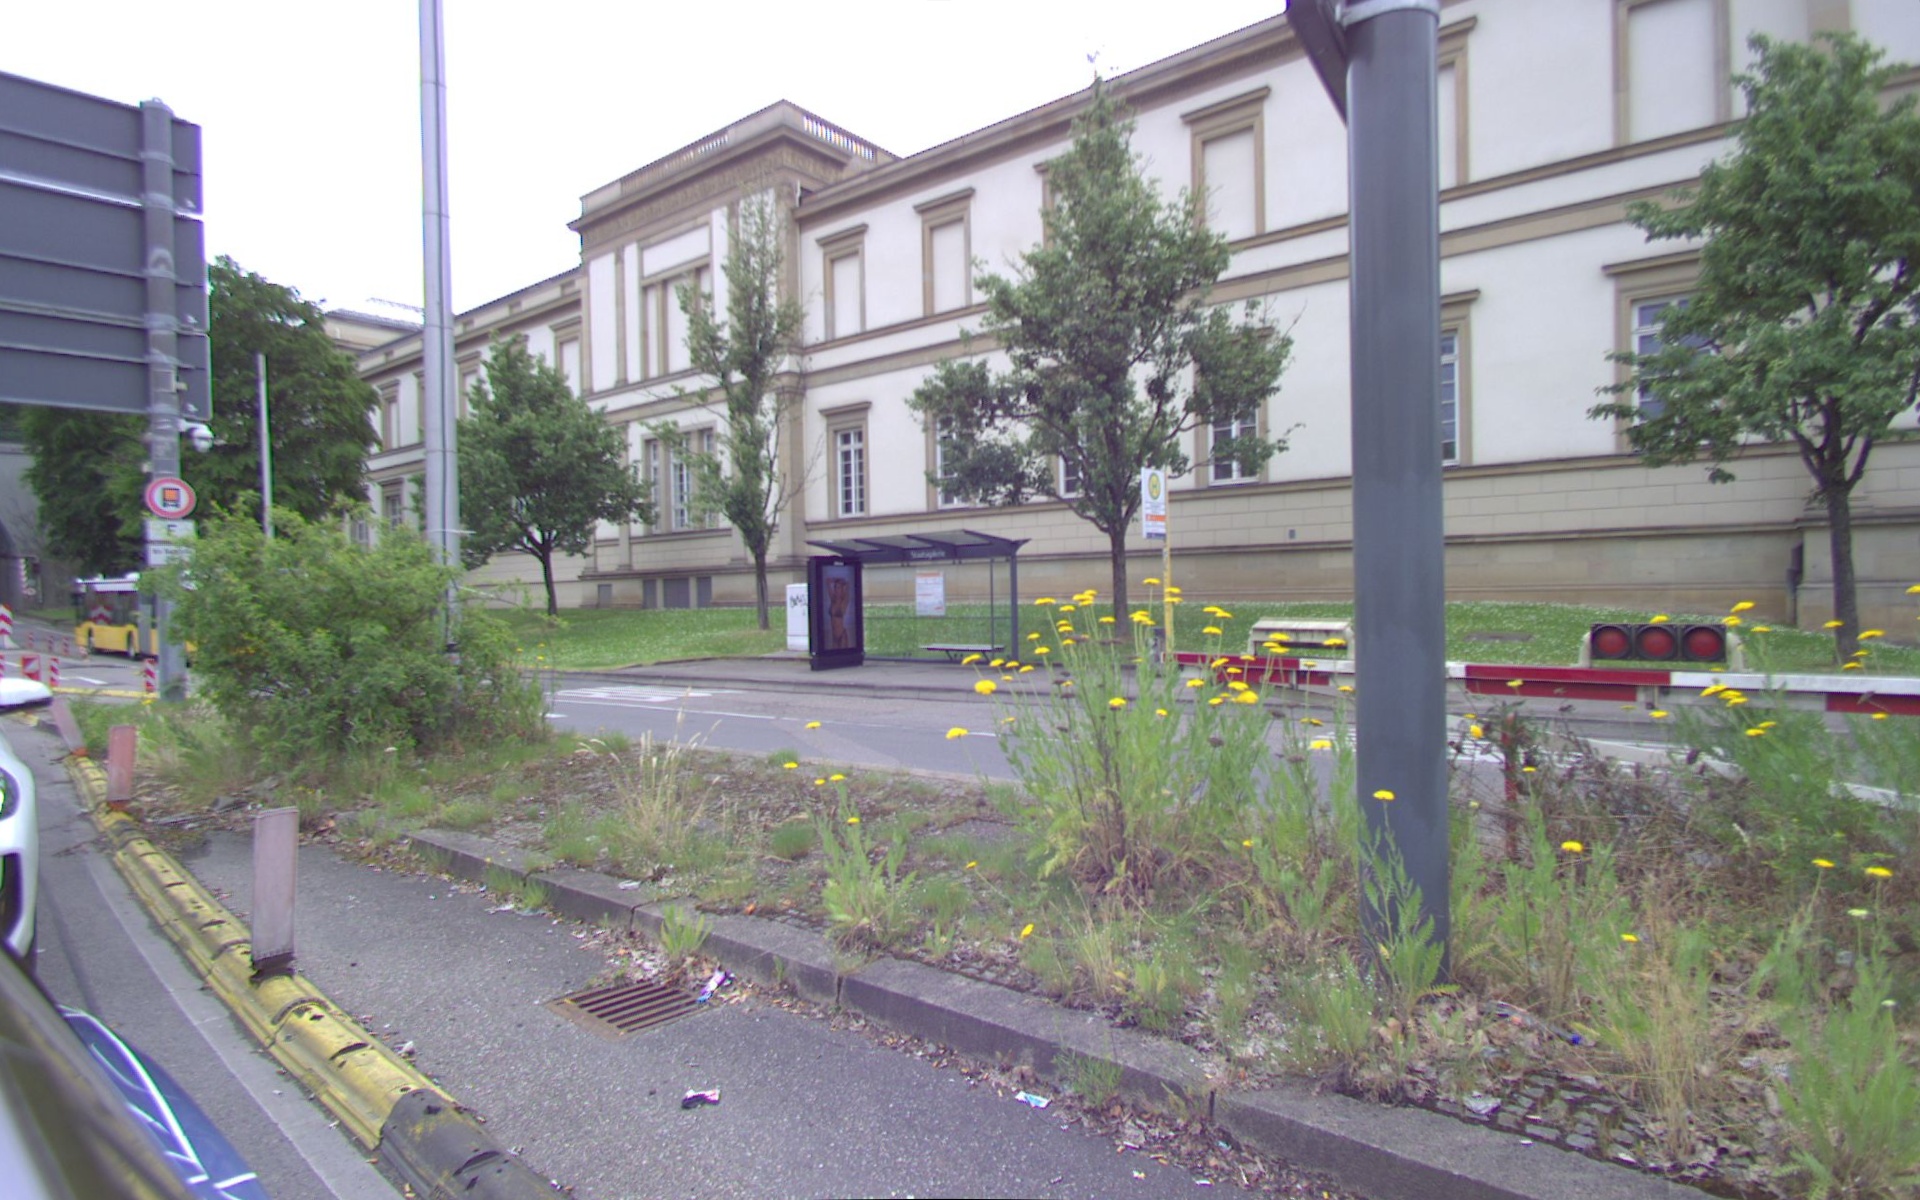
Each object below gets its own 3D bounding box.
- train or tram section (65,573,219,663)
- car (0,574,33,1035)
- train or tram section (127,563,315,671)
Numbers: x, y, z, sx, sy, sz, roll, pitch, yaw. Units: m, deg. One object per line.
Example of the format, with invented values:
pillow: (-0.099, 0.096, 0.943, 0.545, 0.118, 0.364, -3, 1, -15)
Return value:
train or tram section: (-31.696, 0.734, 39.043, 9.364, 3.094, 2.668, -1, -2, 39)
car: (-5.227, 0.722, 4.199, 3.911, 1.568, 1.733, -1, 0, 43)
train or tram section: (-24.405, 0.605, 33.182, 9.326, 3.094, 2.667, -2, -2, 39)
